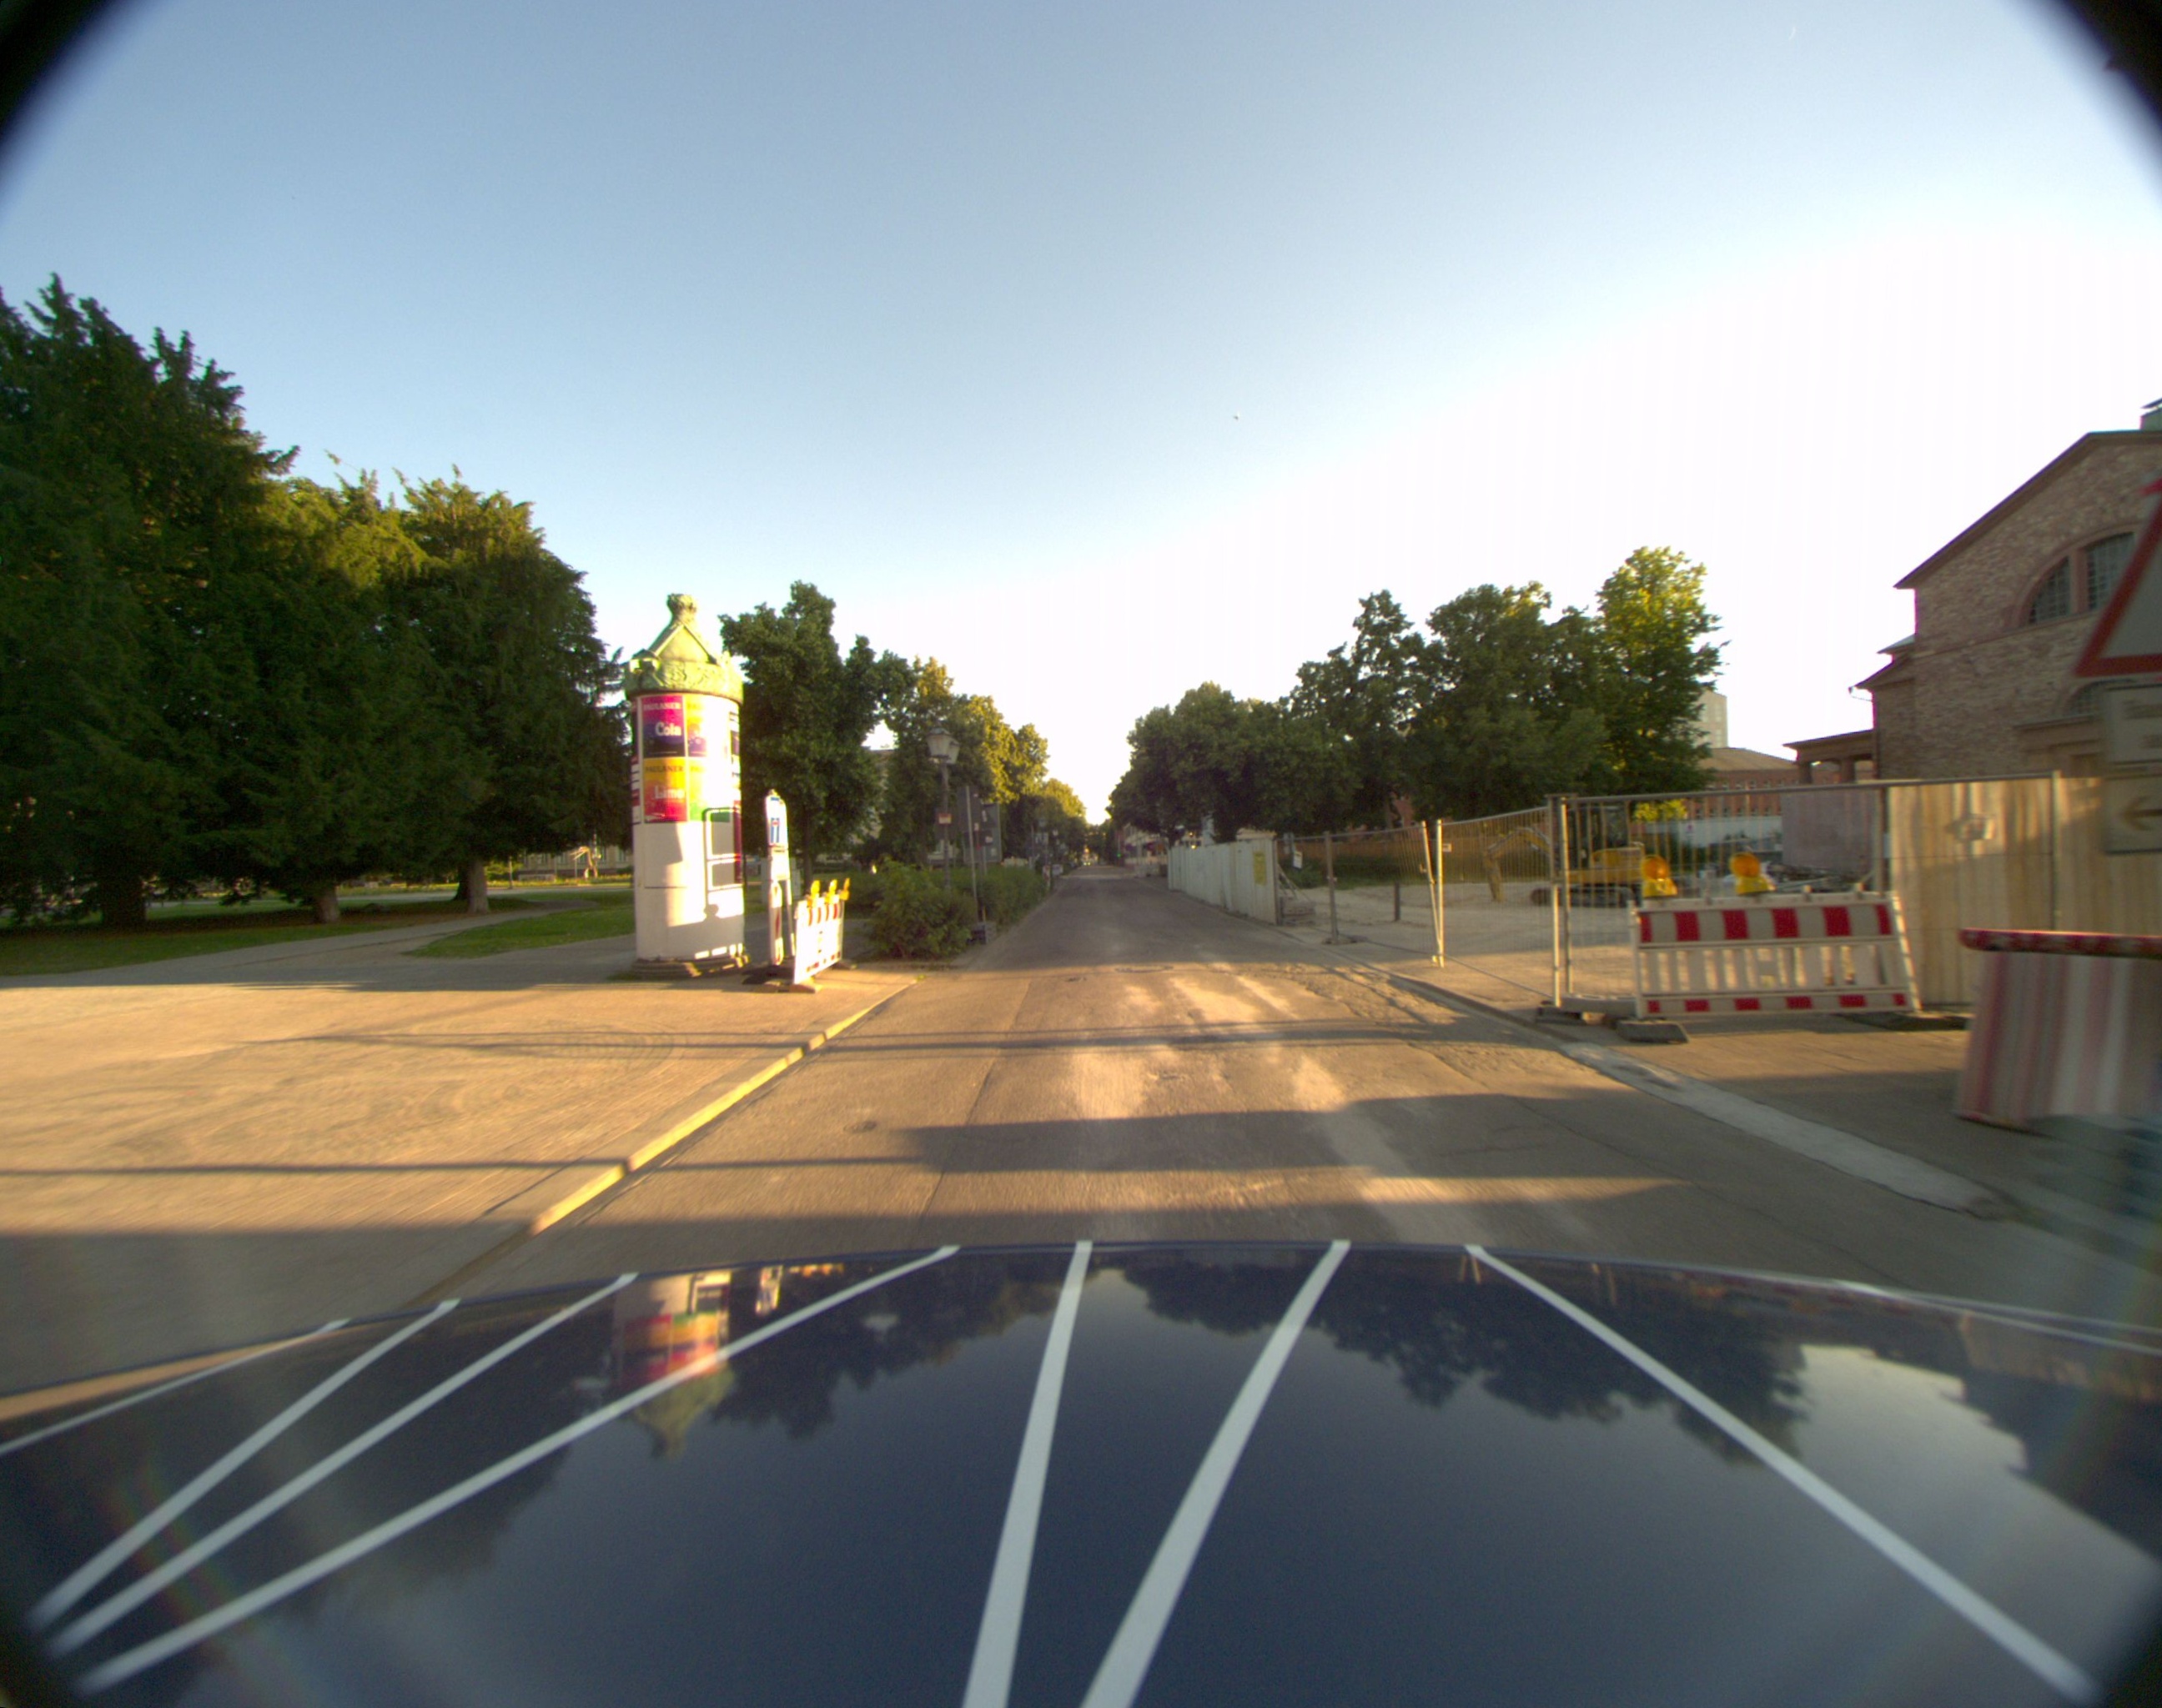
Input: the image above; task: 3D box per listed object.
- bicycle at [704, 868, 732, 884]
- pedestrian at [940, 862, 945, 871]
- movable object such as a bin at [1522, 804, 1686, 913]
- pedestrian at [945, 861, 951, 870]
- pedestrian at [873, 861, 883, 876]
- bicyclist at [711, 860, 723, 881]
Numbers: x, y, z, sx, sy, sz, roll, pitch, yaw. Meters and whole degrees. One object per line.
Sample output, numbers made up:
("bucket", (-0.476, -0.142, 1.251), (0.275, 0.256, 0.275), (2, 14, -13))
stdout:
("bicycle", (-27.622, 1.662, 57.826), (1.778, 1.170, 0.564), (-1, 0, -34))
("pedestrian", (-18.835, 1.687, 103.445), (0.605, 1.102, 0.394), (-2, 0, -45))
("movable object such as a bin", (13.485, 0.101, 19.717), (2.161, 2.588, 2.743), (-2, 0, -22))
("pedestrian", (-18.205, 1.572, 104.132), (0.605, 1.195, 0.394), (-2, 0, -40))
("pedestrian", (-21.840, 1.523, 81.646), (0.858, 1.616, 0.757), (-1, 0, -1))
("bicyclist", (-27.691, 1.258, 57.775), (0.678, 1.622, 0.657), (-2, 1, -34))
